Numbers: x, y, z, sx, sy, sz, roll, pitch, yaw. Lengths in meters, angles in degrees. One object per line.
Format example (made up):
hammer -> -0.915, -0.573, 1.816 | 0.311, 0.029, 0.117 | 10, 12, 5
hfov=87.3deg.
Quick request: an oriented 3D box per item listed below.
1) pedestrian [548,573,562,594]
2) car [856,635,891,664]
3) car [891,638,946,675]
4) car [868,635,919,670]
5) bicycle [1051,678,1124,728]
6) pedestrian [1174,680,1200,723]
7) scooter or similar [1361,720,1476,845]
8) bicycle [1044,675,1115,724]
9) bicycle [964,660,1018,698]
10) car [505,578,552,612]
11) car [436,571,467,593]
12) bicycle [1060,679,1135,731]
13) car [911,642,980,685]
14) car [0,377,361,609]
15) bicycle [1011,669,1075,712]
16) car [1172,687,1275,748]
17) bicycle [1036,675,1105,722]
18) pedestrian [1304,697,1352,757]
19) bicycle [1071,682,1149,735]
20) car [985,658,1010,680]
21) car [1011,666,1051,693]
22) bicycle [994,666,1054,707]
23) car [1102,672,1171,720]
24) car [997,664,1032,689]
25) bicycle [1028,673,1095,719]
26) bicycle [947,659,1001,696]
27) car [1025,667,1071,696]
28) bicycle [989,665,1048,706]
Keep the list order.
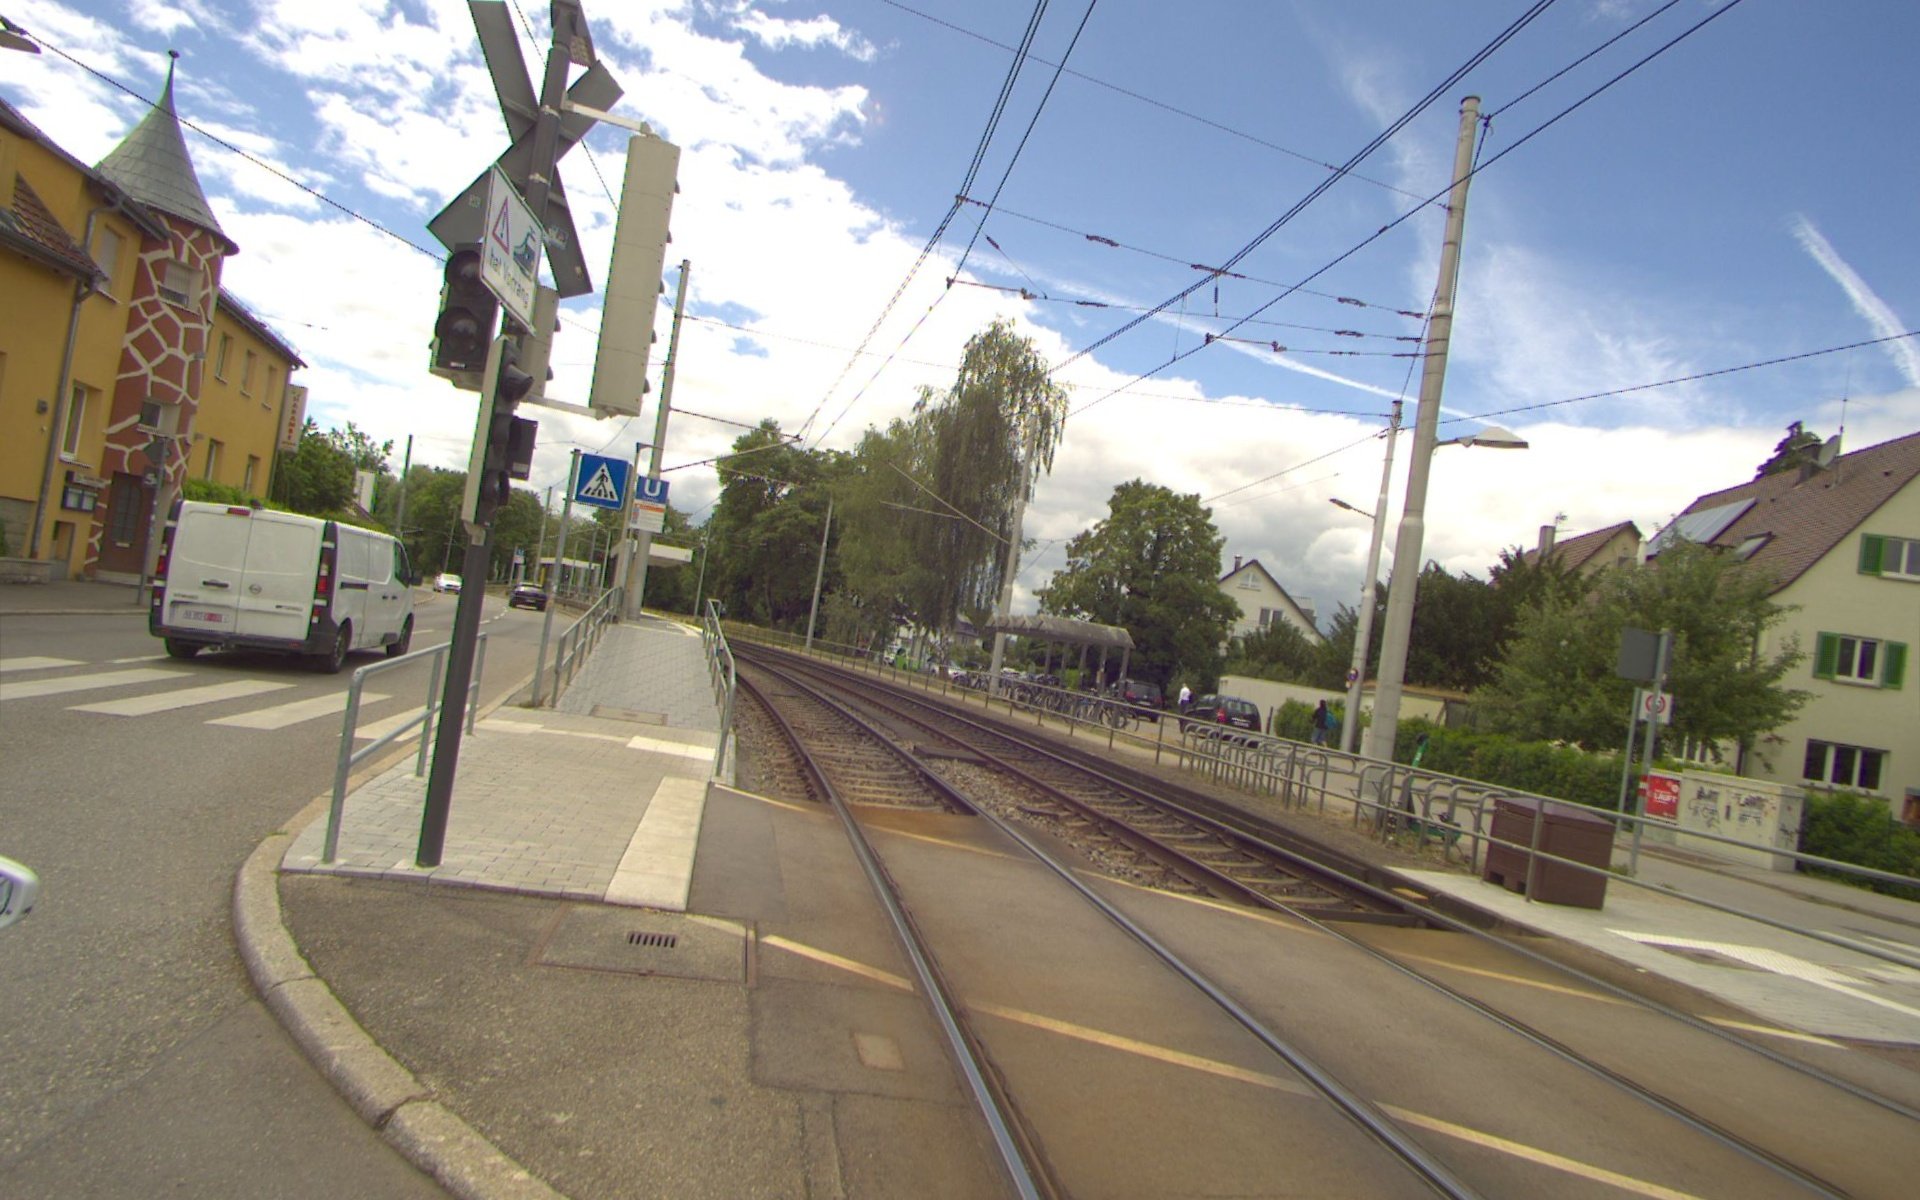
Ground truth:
pedestrian -> -29.973, -1.197, 74.425 | 0.634, 1.421, 0.758 | 9, 0, -31
car -> -5.599, 3.166, 64.957 | 1.816, 1.504, 4.499 | 9, -3, -8
car -> -2.314, 3.044, 54.640 | 1.712, 1.591, 3.985 | 9, -3, -19
car -> -3.936, 3.034, 59.062 | 1.738, 1.591, 4.084 | 9, -3, -19
bicycle -> 3.418, 2.752, 26.937 | 1.743, 1.053, 0.556 | 10, -2, -13
pedestrian -> 10.239, 4.573, 45.331 | 0.812, 1.791, 0.685 | 8, -2, 21
scooter or similar -> 5.603, 2.224, 12.303 | 1.034, 1.331, 0.488 | 9, 0, -11
bicycle -> 3.300, 2.749, 27.788 | 1.743, 1.053, 0.556 | 10, -2, -13
bicycle -> 1.106, 2.805, 35.738 | 1.749, 1.053, 0.554 | 10, -2, -23
car -> -26.592, -0.290, 62.075 | 2.335, 1.580, 4.352 | 11, -4, -22
car -> -38.725, -1.364, 76.493 | 1.804, 1.436, 4.432 | 7, -2, -29
bicycle -> 3.579, 2.734, 26.238 | 1.743, 1.053, 0.556 | 10, -2, -13
car -> -0.800, 3.133, 50.319 | 2.042, 1.591, 4.245 | 10, -3, -19
car -> -10.299, -1.130, 13.725 | 2.094, 2.157, 5.425 | 10, -3, -17
bicycle -> 2.551, 2.771, 30.890 | 1.743, 1.053, 0.556 | 10, -2, -13
car -> 9.092, 4.039, 35.132 | 1.791, 1.502, 4.420 | 9, -3, -7
bicycle -> 3.135, 2.786, 28.480 | 1.743, 1.053, 0.556 | 10, -2, -13
pedestrian -> 11.653, 4.002, 31.877 | 0.800, 1.704, 0.945 | 9, -2, -19
bicycle -> 3.780, 2.727, 25.359 | 1.743, 1.053, 0.556 | 10, -2, -13
car -> 3.507, 6.479, 94.631 | 1.789, 1.653, 4.244 | 9, -3, -3
car -> 4.910, 5.467, 69.871 | 1.732, 1.504, 4.698 | 8, -4, -7
bicycle -> 2.081, 2.812, 32.660 | 1.743, 1.053, 0.556 | 10, -2, -13
car -> 7.927, 4.306, 45.729 | 1.789, 1.653, 4.841 | 9, -3, -3
car -> 4.054, 5.747, 75.757 | 1.733, 1.504, 3.899 | 8, -4, -8
bicycle -> 2.970, 2.801, 29.365 | 1.743, 1.053, 0.556 | 10, -2, -13
bicycle -> 0.514, 2.813, 36.329 | 1.749, 1.053, 0.554 | 10, -2, -24
car -> 5.579, 5.179, 64.368 | 1.732, 1.504, 4.930 | 8, -4, -6
bicycle -> 1.945, 2.836, 33.317 | 1.743, 1.053, 0.556 | 10, -2, -13
